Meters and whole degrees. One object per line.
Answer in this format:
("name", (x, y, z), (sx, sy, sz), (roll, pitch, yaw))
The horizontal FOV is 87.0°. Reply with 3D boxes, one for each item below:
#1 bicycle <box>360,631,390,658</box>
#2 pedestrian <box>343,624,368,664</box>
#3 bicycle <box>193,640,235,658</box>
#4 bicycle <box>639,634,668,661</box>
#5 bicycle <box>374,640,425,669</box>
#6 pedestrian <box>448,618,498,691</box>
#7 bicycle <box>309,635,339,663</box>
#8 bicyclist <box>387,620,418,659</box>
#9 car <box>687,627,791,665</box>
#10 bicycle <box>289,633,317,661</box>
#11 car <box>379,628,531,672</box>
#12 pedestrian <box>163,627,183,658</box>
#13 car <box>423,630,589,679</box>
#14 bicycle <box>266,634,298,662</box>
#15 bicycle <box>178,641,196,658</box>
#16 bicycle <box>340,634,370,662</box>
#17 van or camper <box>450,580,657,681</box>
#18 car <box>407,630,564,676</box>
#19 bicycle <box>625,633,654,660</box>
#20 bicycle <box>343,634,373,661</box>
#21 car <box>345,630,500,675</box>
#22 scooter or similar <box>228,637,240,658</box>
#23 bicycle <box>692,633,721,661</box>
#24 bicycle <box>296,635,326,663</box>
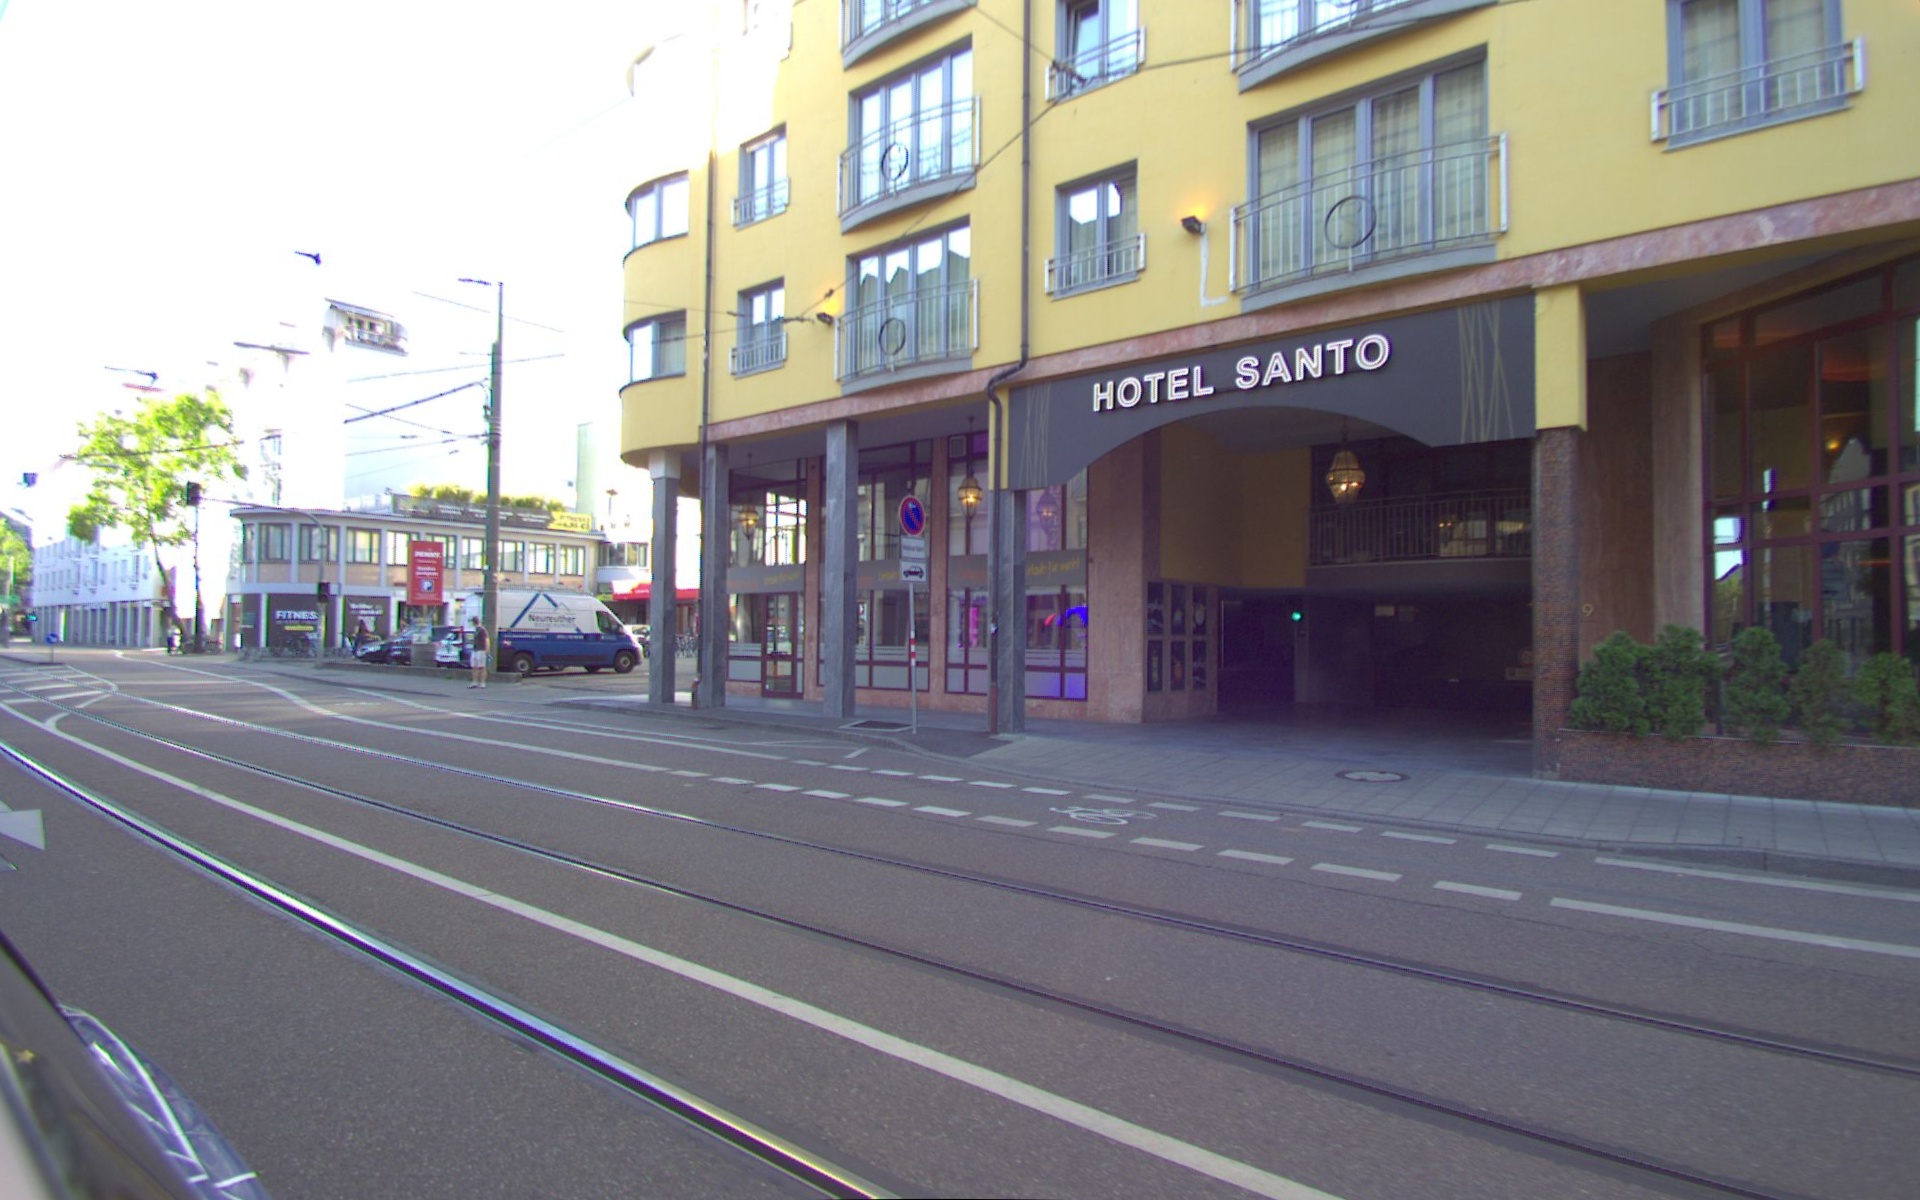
("bicycle", (-26.014, 1.977, 44.972), (1.828, 1.196, 0.444), (-2, -4, 37))
("pedestrian", (-26.089, 1.904, 43.651), (0.682, 1.710, 0.674), (-2, -4, 37))
("bicycle", (-41.795, 2.744, 56.708), (0.389, 0.919, 1.824), (-6, -5, 44))
("bicycle", (-13.707, 2.127, 45.272), (0.426, 1.196, 1.833), (3, -4, -43))
("bicycle", (-23.199, 2.257, 41.923), (0.678, 1.180, 1.817), (0, -3, 22))
("pedestrian", (-12.695, 1.412, 26.399), (0.908, 1.846, 0.825), (-2, -4, 39))
("bicycle", (-27.745, 2.133, 44.115), (1.828, 1.196, 0.439), (-2, -4, 37))
("bicyclist", (-23.147, 1.638, 42.039), (0.687, 1.561, 0.831), (0, -3, 23))
("car", (-9.268, 1.925, 42.625), (1.997, 1.519, 3.950), (-1, -3, 37))
("bicycle", (-28.220, 2.028, 43.434), (1.829, 1.196, 0.436), (-2, -4, 39))
("car", (-18.229, 1.827, 36.724), (1.878, 1.487, 4.542), (-2, -4, 39))
("pedestrian", (-43.853, 2.379, 56.408), (0.621, 1.729, 0.828), (2, -3, -23))
("car", (-14.694, 1.762, 32.960), (1.878, 1.487, 4.542), (-2, -4, 39))
("bicycle", (-29.206, 2.069, 43.585), (1.826, 1.196, 0.442), (-2, -4, 34))
("bicycle", (-42.775, 2.739, 56.001), (1.850, 0.919, 0.384), (-1, -2, 41))
("bicycle", (-26.041, 2.067, 43.545), (1.828, 1.196, 0.444), (-2, -4, 37))
("van or camper", (-12.527, 1.011, 31.565), (2.313, 2.849, 5.549), (-2, -4, 40))
("car", (-16.362, 1.838, 35.076), (1.878, 1.487, 4.542), (-2, -4, 39))
("bicycle", (-14.270, 2.063, 45.042), (0.426, 1.196, 1.833), (3, -4, -43))
("bicycle", (-26.370, 2.082, 44.346), (1.828, 1.196, 0.444), (-2, -4, 37))
("car", (-20.280, 1.989, 38.377), (1.878, 1.595, 4.845), (-2, -4, 39))
("scooter or similar", (-40.294, 2.633, 56.165), (0.330, 1.120, 1.183), (2, -2, -27))
("bicycle", (-11.579, 2.137, 46.153), (0.426, 1.196, 1.833), (3, -3, -43))
("bicycle", (-28.170, 2.134, 43.898), (1.828, 1.196, 0.444), (-2, -4, 37))
